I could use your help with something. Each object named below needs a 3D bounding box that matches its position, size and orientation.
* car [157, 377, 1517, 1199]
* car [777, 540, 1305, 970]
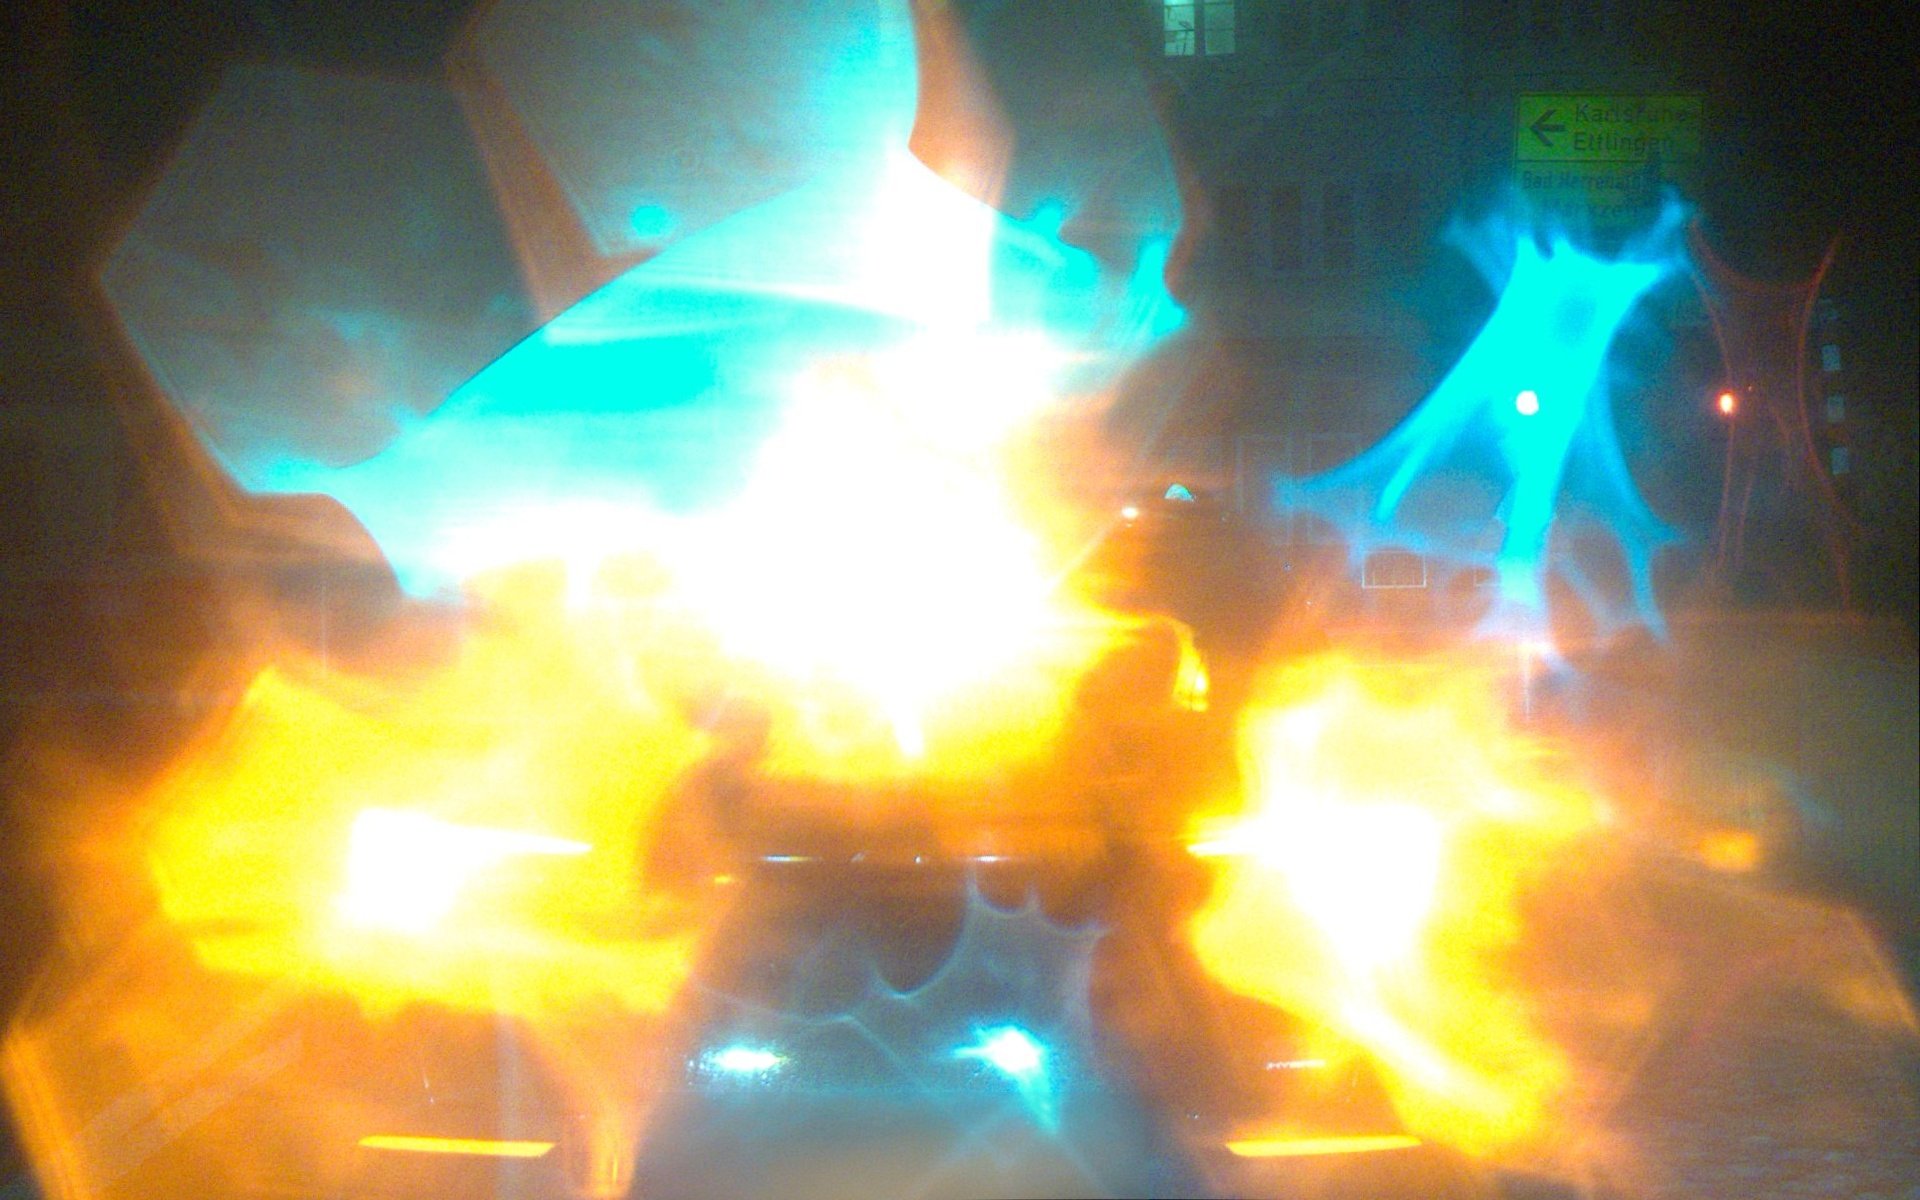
[{"bbox_3d":[-0.143,0.495,6.493,1.791,1.675,3.904,0,1,1],"label":"car"},{"bbox_3d":[0.364,0.484,13.441,1.744,1.410,4.000,-1,1,3],"label":"car"}]
